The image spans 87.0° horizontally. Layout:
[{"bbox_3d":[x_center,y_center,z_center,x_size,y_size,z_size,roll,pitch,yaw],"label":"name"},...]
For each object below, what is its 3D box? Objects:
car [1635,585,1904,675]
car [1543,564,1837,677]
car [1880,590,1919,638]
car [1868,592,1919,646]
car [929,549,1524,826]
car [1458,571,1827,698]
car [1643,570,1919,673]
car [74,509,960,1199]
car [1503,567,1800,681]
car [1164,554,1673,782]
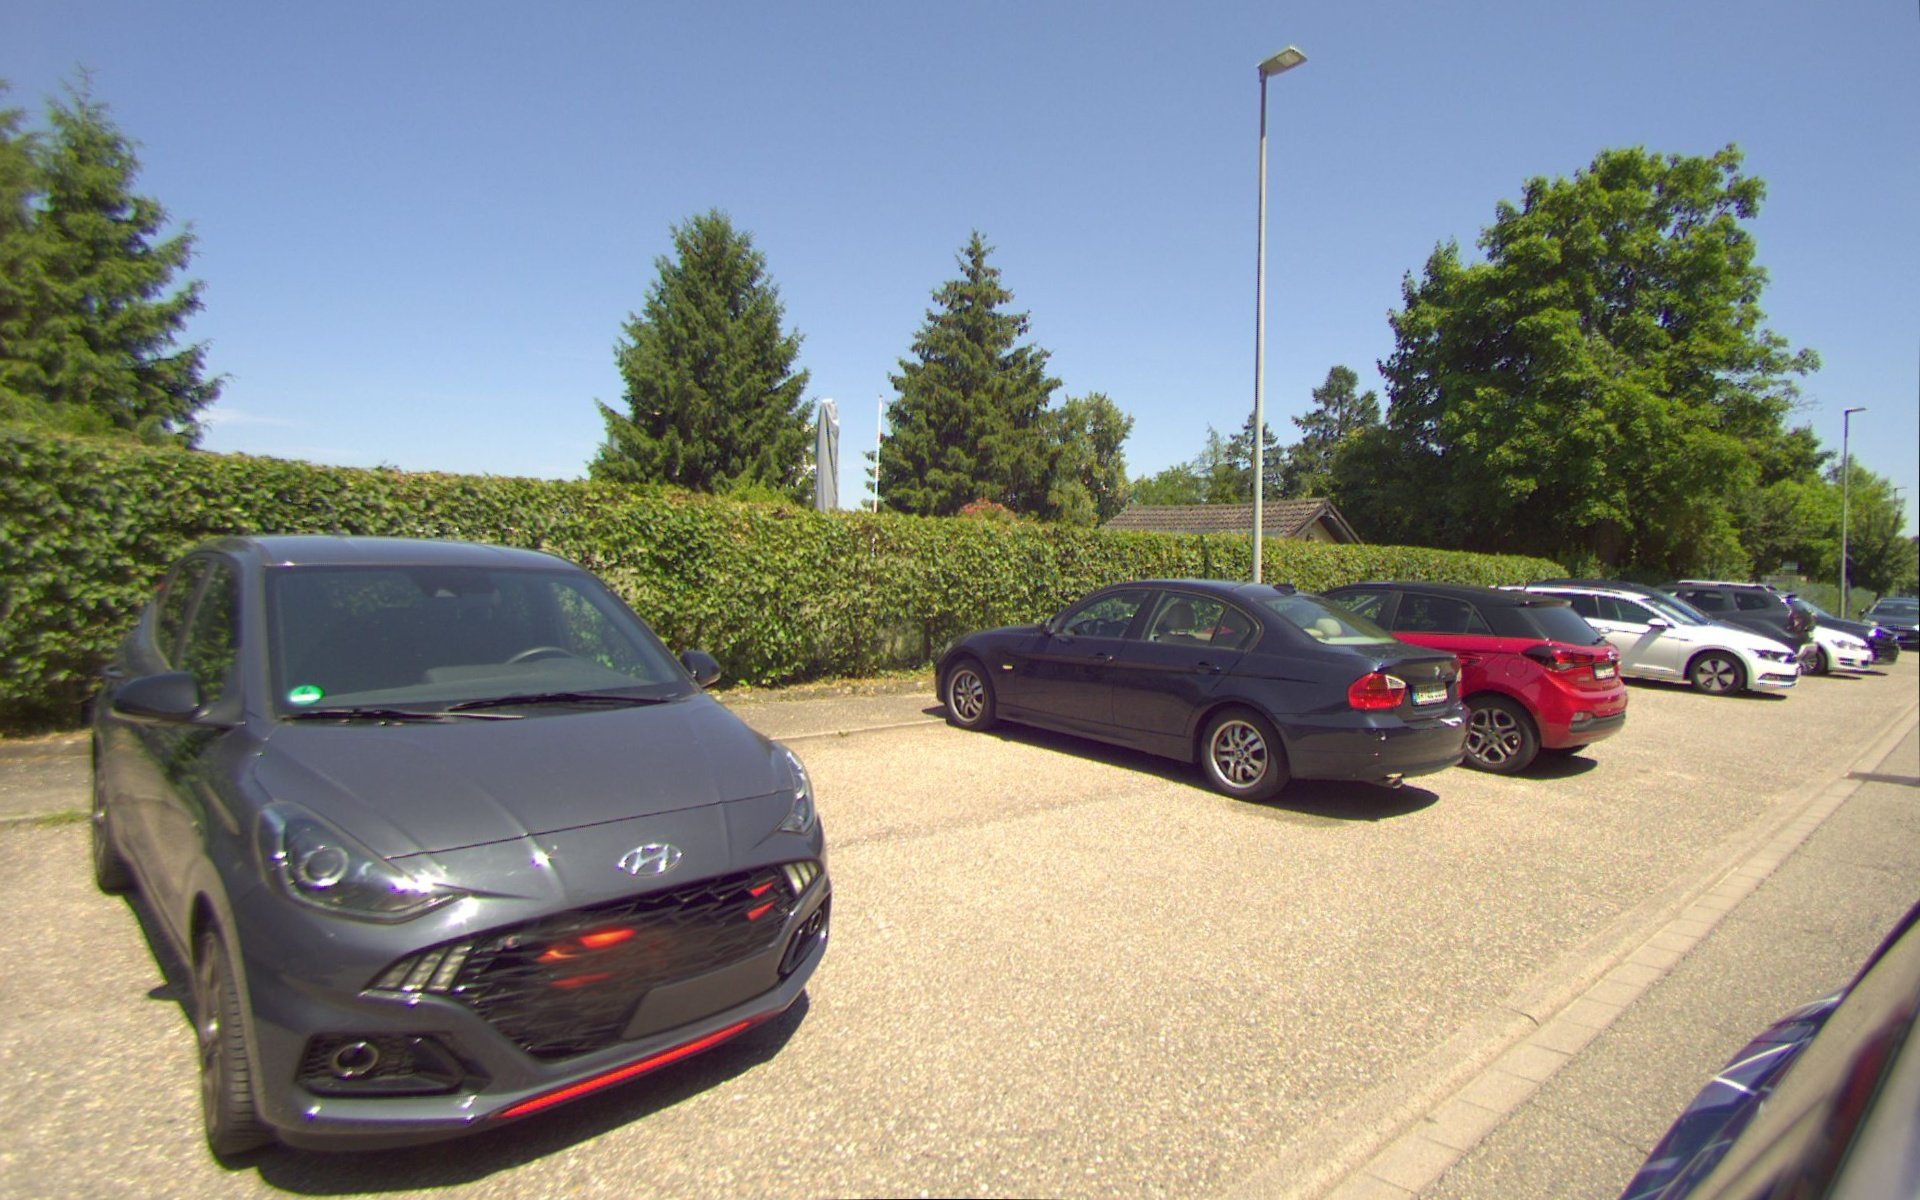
[{"bbox_3d":[16.403,0.530,20.659,1.800,1.470,4.004,0,3,-42],"label":"car"},{"bbox_3d":[14.070,0.307,19.715,1.821,1.718,4.268,1,4,-41],"label":"car"},{"bbox_3d":[34.520,0.496,36.488,1.790,1.623,4.063,3,2,45],"label":"car"},{"bbox_3d":[29.742,0.585,31.537,4.589,1.499,1.791,0,5,-45],"label":"car"},{"bbox_3d":[1.804,0.432,7.999,1.808,1.405,4.213,1,4,-41],"label":"car"},{"bbox_3d":[10.759,0.432,16.207,4.563,1.456,1.930,7,5,45],"label":"car"},{"bbox_3d":[18.063,0.385,22.390,1.881,1.724,4.480,1,5,-42],"label":"car"},{"bbox_3d":[-1.920,0.483,3.752,3.578,1.520,1.812,5,3,45],"label":"car"},{"bbox_3d":[12.250,0.331,18.118,1.729,1.567,4.055,0,5,-44],"label":"car"},{"bbox_3d":[4.107,0.444,9.568,1.813,1.496,3.928,1,4,-41],"label":"car"}]
